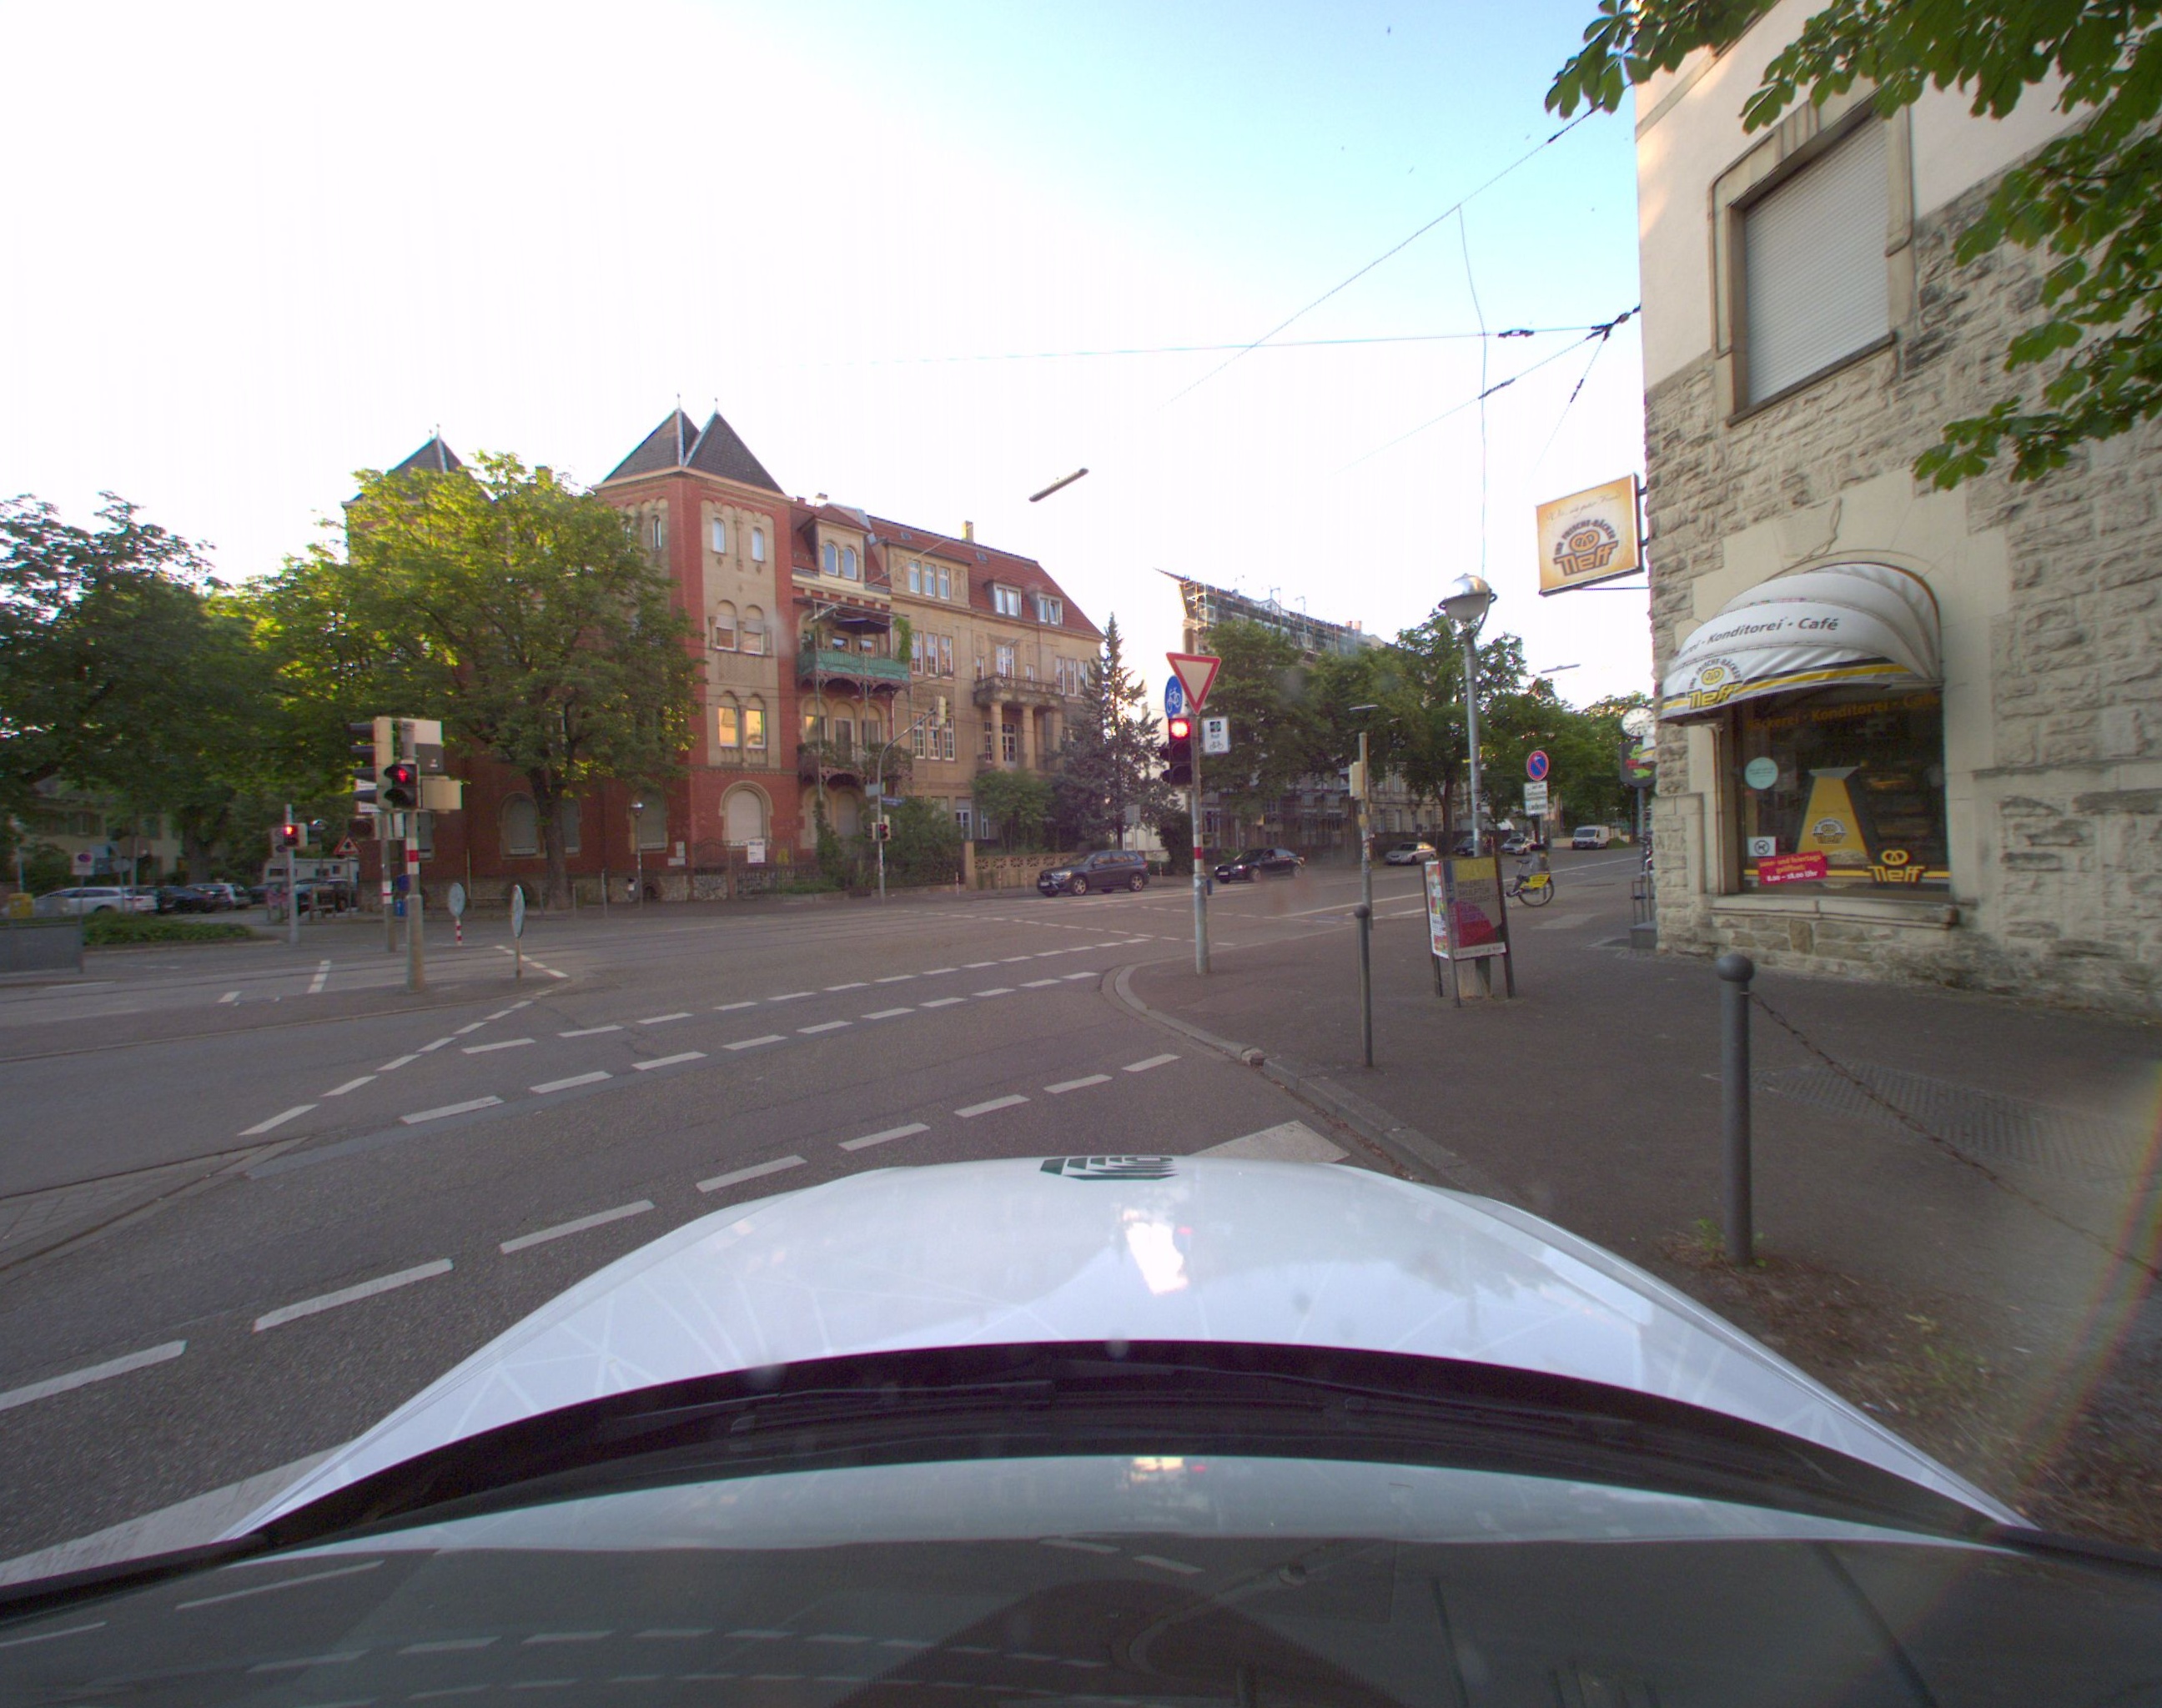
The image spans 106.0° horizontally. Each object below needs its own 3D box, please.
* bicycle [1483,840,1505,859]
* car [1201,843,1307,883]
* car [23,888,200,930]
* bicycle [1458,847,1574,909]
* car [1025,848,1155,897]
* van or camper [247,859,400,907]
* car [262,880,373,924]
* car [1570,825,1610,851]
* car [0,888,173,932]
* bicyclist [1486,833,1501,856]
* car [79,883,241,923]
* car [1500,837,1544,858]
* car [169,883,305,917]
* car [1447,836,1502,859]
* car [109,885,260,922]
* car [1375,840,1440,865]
[{"bbox_3d":[26.718,-0.297,52.713,1.615,1.148,0.549,-2,0,-36],"label":"bicycle"},{"bbox_3d":[7.536,0.382,35.185,4.655,1.510,1.928,-2,0,-39],"label":"car"},{"bbox_3d":[-45.610,2.561,38.475,4.974,1.704,1.983,-1,-1,-25],"label":"car"},{"bbox_3d":[8.606,0.472,16.180,1.859,1.130,0.734,-2,0,12],"label":"bicycle"},{"bbox_3d":[0.370,0.624,29.413,4.442,1.510,1.928,-2,0,-39],"label":"car"},{"bbox_3d":[-53.123,1.980,57.417,7.401,3.083,2.651,-1,-1,-25],"label":"van or camper"},{"bbox_3d":[-33.938,2.085,36.362,2.001,1.704,4.685,-1,-1,-22],"label":"car"},{"bbox_3d":[48.521,-1.550,77.579,4.657,2.316,1.927,-2,0,-41],"label":"car"},{"bbox_3d":[-44.689,2.479,36.456,4.974,1.704,1.983,-1,-1,-25],"label":"car"},{"bbox_3d":[26.704,-0.615,52.721,0.739,1.428,0.549,-2,0,-35],"label":"bicyclist"},{"bbox_3d":[-46.004,2.407,40.854,4.974,1.704,1.983,-1,-1,-25],"label":"car"},{"bbox_3d":[35.204,-0.539,64.940,1.926,1.482,4.346,-2,0,45],"label":"car"},{"bbox_3d":[-47.967,2.572,46.444,4.974,1.704,1.983,-1,-1,-25],"label":"car"},{"bbox_3d":[28.390,-0.489,58.748,4.189,1.482,1.928,-2,0,-39],"label":"car"},{"bbox_3d":[-47.628,2.598,43.429,4.974,1.704,1.983,-1,-1,-25],"label":"car"},{"bbox_3d":[20.773,-0.110,51.724,4.658,1.426,1.986,-2,0,-43],"label":"car"}]
